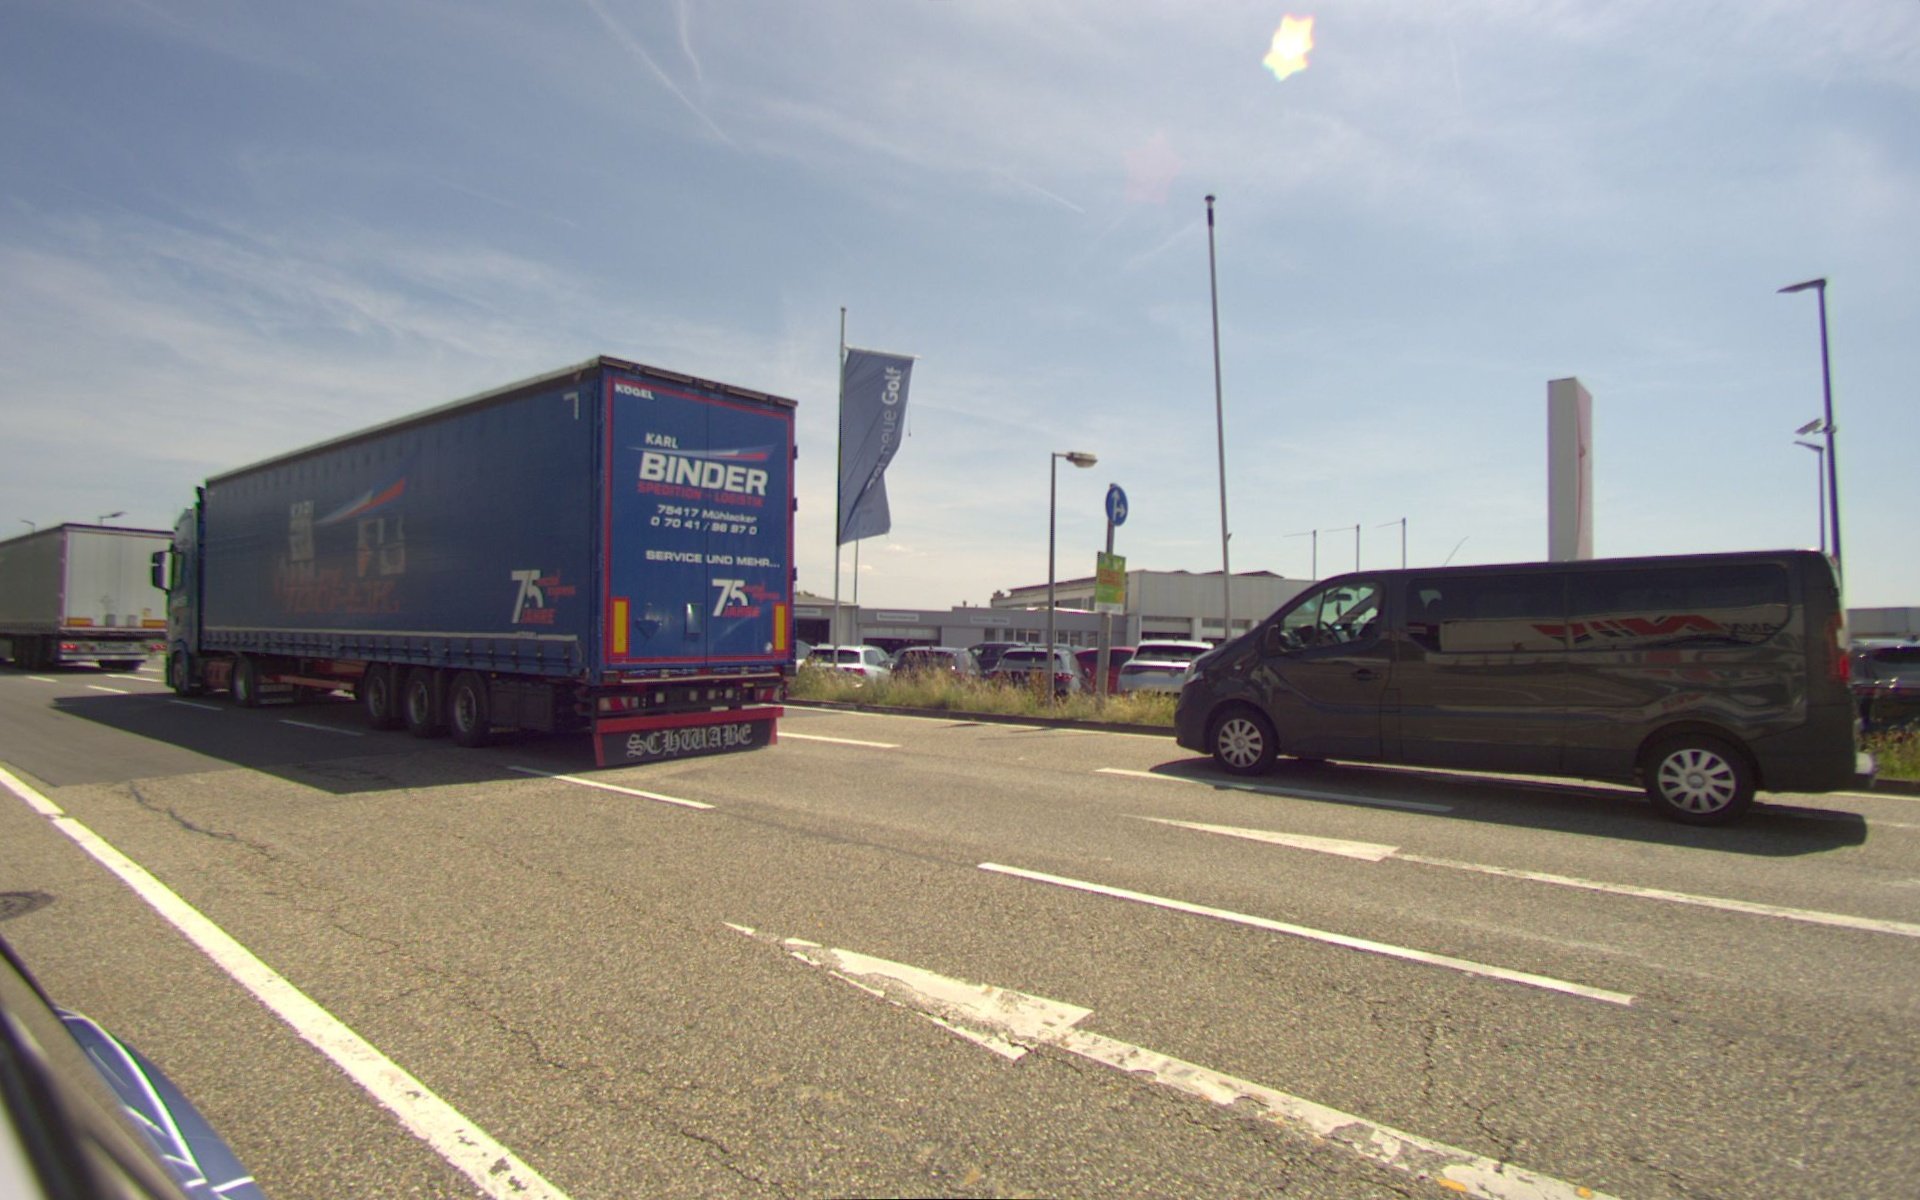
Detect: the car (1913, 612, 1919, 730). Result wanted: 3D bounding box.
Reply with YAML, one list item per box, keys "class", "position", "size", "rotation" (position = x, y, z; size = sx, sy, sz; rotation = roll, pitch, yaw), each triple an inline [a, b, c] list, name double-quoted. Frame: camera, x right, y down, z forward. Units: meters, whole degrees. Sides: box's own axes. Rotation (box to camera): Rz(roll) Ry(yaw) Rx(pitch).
- class: "car"
  position: [16.177, 1.143, 15.605]
  size: [1.999, 1.918, 3.944]
  rotation: [-1, -2, 42]

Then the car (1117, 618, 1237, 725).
- class: "car"
  position: [3.669, 1.135, 17.394]
  size: [1.763, 1.598, 4.168]
  rotation: [0, -2, 11]

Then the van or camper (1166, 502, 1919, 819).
- class: "van or camper"
  position: [4.647, 0.438, 8.748]
  size: [5.382, 1.950, 1.972]
  rotation: [-1, -2, 43]

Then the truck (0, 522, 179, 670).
- class: "truck"
  position: [-29.787, -0.087, 33.011]
  size: [16.458, 3.918, 2.764]
  rotation: [0, -1, 38]

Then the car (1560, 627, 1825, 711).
- class: "car"
  position: [14.052, 1.251, 19.578]
  size: [3.996, 1.452, 1.689]
  rotation: [-1, -2, 40]

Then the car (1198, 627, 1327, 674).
- class: "car"
  position: [9.798, 1.611, 32.919]
  size: [3.702, 1.431, 1.618]
  rotation: [-1, -2, 40]

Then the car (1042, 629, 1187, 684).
- class: "car"
  position: [4.270, 1.533, 28.217]
  size: [3.702, 1.431, 1.618]
  rotation: [-1, -2, 40]

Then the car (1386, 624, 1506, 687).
- class: "car"
  position: [11.919, 1.310, 25.089]
  size: [1.982, 1.409, 3.979]
  rotation: [0, -2, 16]

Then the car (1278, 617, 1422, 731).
- class: "car"
  position: [5.871, 1.036, 15.587]
  size: [1.805, 1.497, 3.976]
  rotation: [-1, -2, 18]

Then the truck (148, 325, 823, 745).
- class: "truck"
  position: [-8.966, -0.584, 16.013]
  size: [16.992, 3.918, 2.815]
  rotation: [0, -1, 40]
